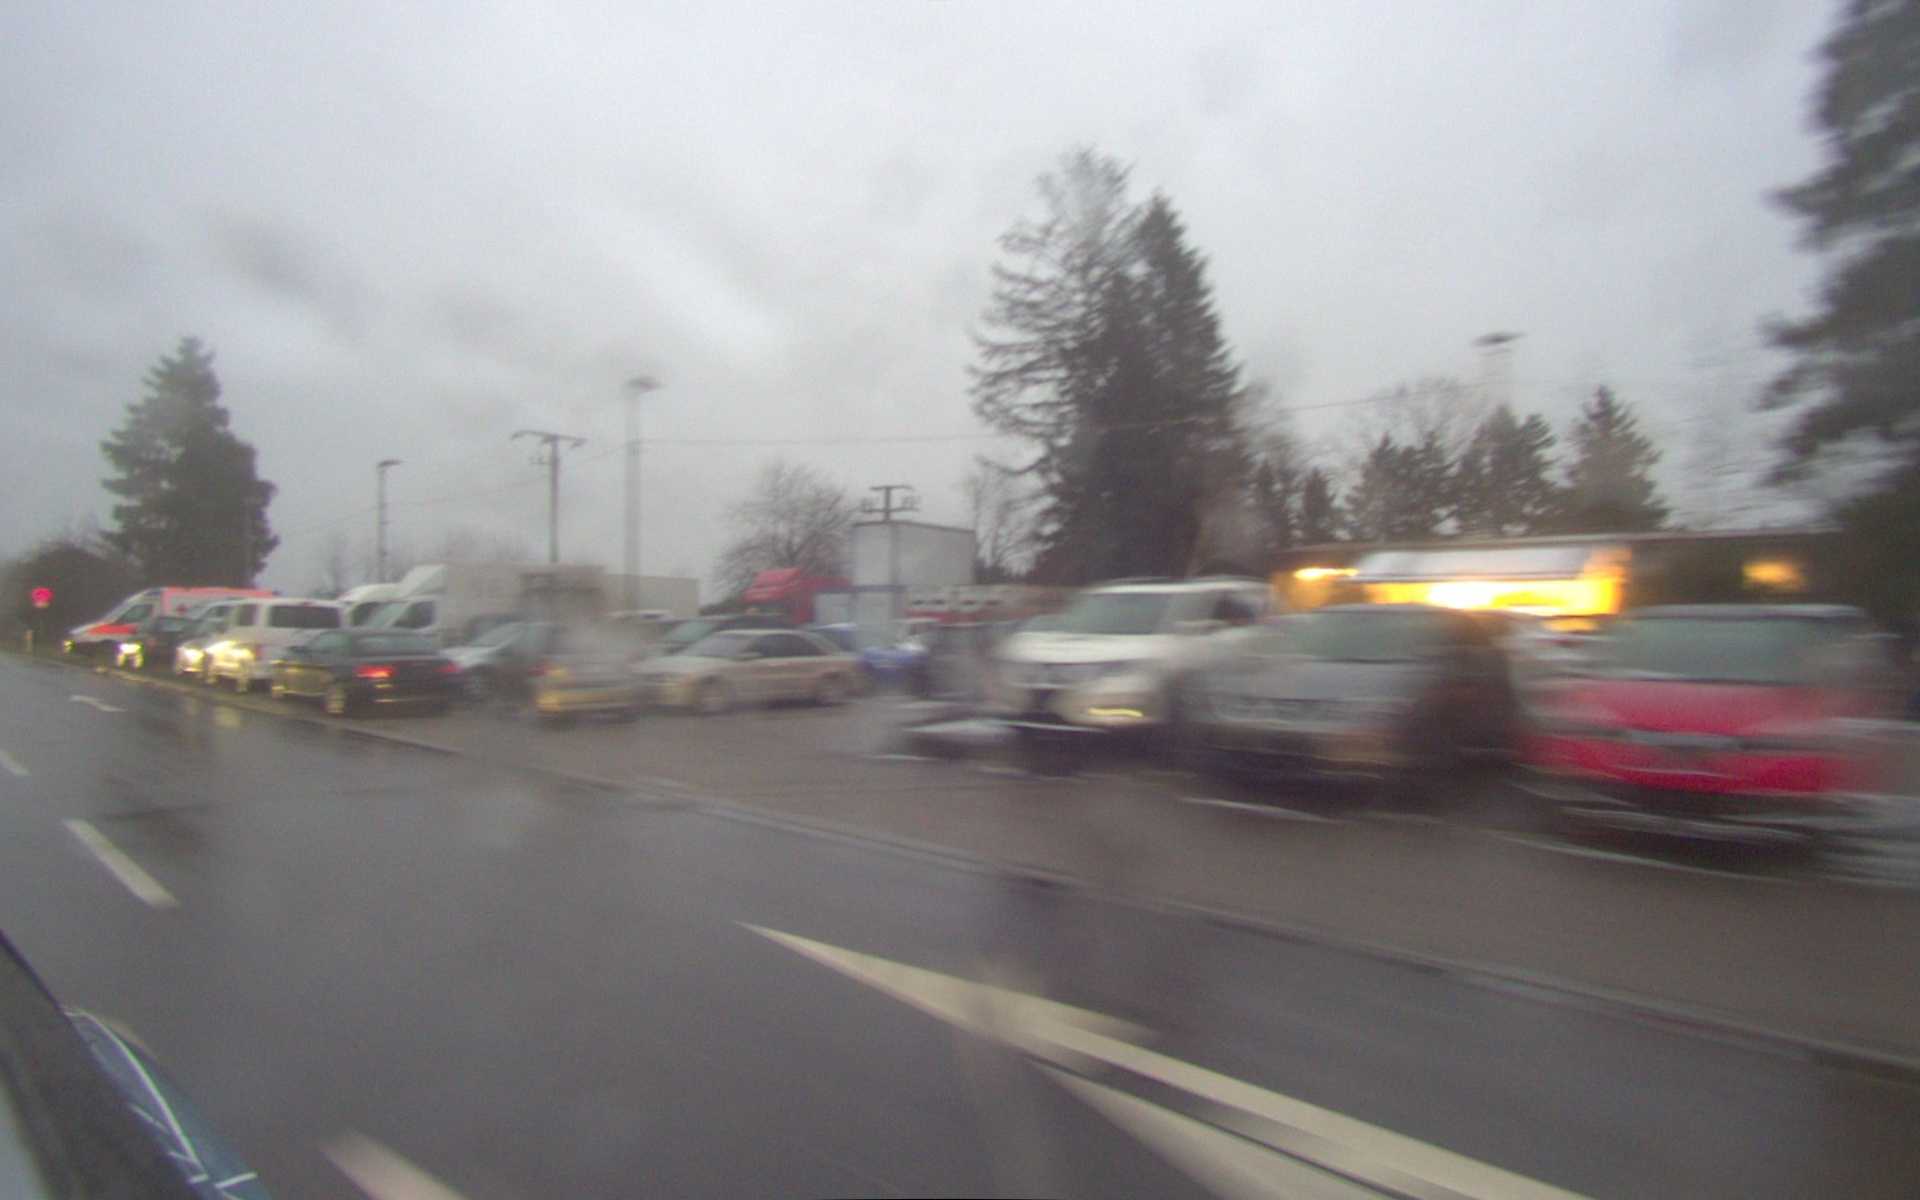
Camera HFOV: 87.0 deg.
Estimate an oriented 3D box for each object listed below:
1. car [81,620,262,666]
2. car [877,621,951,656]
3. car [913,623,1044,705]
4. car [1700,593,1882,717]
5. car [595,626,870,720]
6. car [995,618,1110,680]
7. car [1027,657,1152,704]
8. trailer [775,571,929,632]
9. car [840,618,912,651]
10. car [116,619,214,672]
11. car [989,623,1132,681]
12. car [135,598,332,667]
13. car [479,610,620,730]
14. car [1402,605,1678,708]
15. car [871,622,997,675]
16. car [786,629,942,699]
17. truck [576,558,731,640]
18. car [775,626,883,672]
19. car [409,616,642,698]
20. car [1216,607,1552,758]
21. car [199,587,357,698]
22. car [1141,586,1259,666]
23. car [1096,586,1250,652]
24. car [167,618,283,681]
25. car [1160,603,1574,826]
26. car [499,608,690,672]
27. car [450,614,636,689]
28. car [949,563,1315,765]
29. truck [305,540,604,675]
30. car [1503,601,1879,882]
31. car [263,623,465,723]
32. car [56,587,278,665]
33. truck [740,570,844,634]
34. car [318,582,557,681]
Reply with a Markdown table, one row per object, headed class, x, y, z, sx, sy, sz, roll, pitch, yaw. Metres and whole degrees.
| class | x | y | z | sx | sy | sz | roll | pitch | yaw |
| --- | --- | --- | --- | --- | --- | --- | --- | --- | --- |
| car | -27.434 | 1.507 | 35.345 | 1.954 | 1.494 | 4.698 | -2 | -3 | 42 |
| car | -1.713 | 1.428 | 38.263 | 1.343 | 1.227 | 2.773 | -1 | -1 | 38 |
| car | 0.452 | 1.301 | 21.112 | 1.345 | 1.560 | 3.134 | -2 | -3 | 32 |
| car | 11.959 | 0.673 | 14.501 | 1.789 | 1.522 | 3.944 | -1 | -1 | 42 |
| car | -3.898 | 1.219 | 18.123 | 1.781 | 1.448 | 4.707 | -1 | -2 | 40 |
| car | 2.756 | 1.386 | 29.479 | 1.687 | 1.696 | 3.646 | -1 | -2 | 37 |
| car | 2.521 | 1.561 | 19.852 | 2.262 | 0.803 | 0.983 | -1 | -2 | 38 |
| trailer | -5.044 | 0.052 | 50.194 | 2.209 | 2.694 | 10.409 | -1 | 0 | 27 |
| car | -3.317 | 1.349 | 40.279 | 1.343 | 1.209 | 2.773 | -1 | -1 | 38 |
| car | -22.901 | 1.310 | 29.103 | 3.742 | 1.431 | 1.633 | -3 | -3 | 43 |
| car | 2.617 | 1.334 | 26.580 | 3.428 | 1.416 | 1.520 | -1 | -1 | 34 |
| car | -24.708 | 1.143 | 34.577 | 2.058 | 2.167 | 5.091 | -2 | -3 | 42 |
| car | -6.299 | 1.004 | 15.410 | 1.157 | 1.657 | 2.875 | 1 | -2 | -40 |
| car | 8.869 | 0.796 | 15.847 | 1.646 | 1.394 | 3.633 | 0 | -1 | -15 |
| car | -0.714 | 1.290 | 26.949 | 3.159 | 1.342 | 1.395 | -2 | -3 | 33 |
| car | -2.204 | 1.378 | 22.548 | 1.647 | 1.409 | 3.651 | 2 | -3 | -41 |
| truck | -17.133 | -0.129 | 57.297 | 2.996 | 4.293 | 8.623 | -1 | 1 | 31 |
| car | -4.017 | 1.507 | 31.027 | 3.159 | 1.342 | 1.395 | -2 | -3 | 33 |
| car | -8.621 | 1.143 | 20.308 | 1.809 | 1.489 | 3.868 | -1 | -4 | 41 |
| car | 5.421 | 0.954 | 13.167 | 3.704 | 1.689 | 1.652 | -1 | -1 | 40 |
| car | -14.112 | 0.811 | 20.847 | 4.485 | 2.028 | 1.814 | -1 | -1 | 44 |
| car | 7.580 | 0.784 | 31.714 | 2.261 | 2.298 | 4.195 | -1 | -1 | 34 |
| car | 7.833 | 0.713 | 37.511 | 5.280 | 2.279 | 1.975 | -1 | -1 | 38 |
| car | -17.848 | 1.151 | 24.529 | 3.841 | 1.423 | 1.631 | -2 | -2 | 44 |
| car | 3.863 | 0.806 | 9.186 | 1.995 | 1.509 | 4.287 | -1 | -1 | 44 |
| car | -8.772 | 0.914 | 24.549 | 1.812 | 1.388 | 4.010 | -1 | -1 | 38 |
| car | -10.717 | 1.250 | 26.223 | 2.022 | 1.746 | 4.010 | -1 | -1 | 38 |
| car | 2.058 | 0.549 | 10.874 | 2.007 | 1.689 | 4.491 | -1 | -1 | 38 |
| truck | -13.217 | 0.219 | 26.982 | 2.333 | 3.166 | 6.788 | -1 | -1 | 40 |
| car | 5.724 | 0.779 | 7.689 | 1.825 | 1.509 | 4.289 | -1 | -1 | 42 |
| car | -10.008 | 1.134 | 16.859 | 4.254 | 1.331 | 1.554 | 1 | -1 | 40 |
| car | -29.002 | 0.998 | 37.221 | 2.175 | 2.652 | 6.090 | -2 | -3 | 42 |
| truck | -7.471 | 0.083 | 45.488 | 2.223 | 2.717 | 4.681 | -1 | 0 | 27 |
| car | -15.429 | 0.908 | 30.244 | 2.194 | 2.658 | 5.971 | -1 | -2 | 39 |
